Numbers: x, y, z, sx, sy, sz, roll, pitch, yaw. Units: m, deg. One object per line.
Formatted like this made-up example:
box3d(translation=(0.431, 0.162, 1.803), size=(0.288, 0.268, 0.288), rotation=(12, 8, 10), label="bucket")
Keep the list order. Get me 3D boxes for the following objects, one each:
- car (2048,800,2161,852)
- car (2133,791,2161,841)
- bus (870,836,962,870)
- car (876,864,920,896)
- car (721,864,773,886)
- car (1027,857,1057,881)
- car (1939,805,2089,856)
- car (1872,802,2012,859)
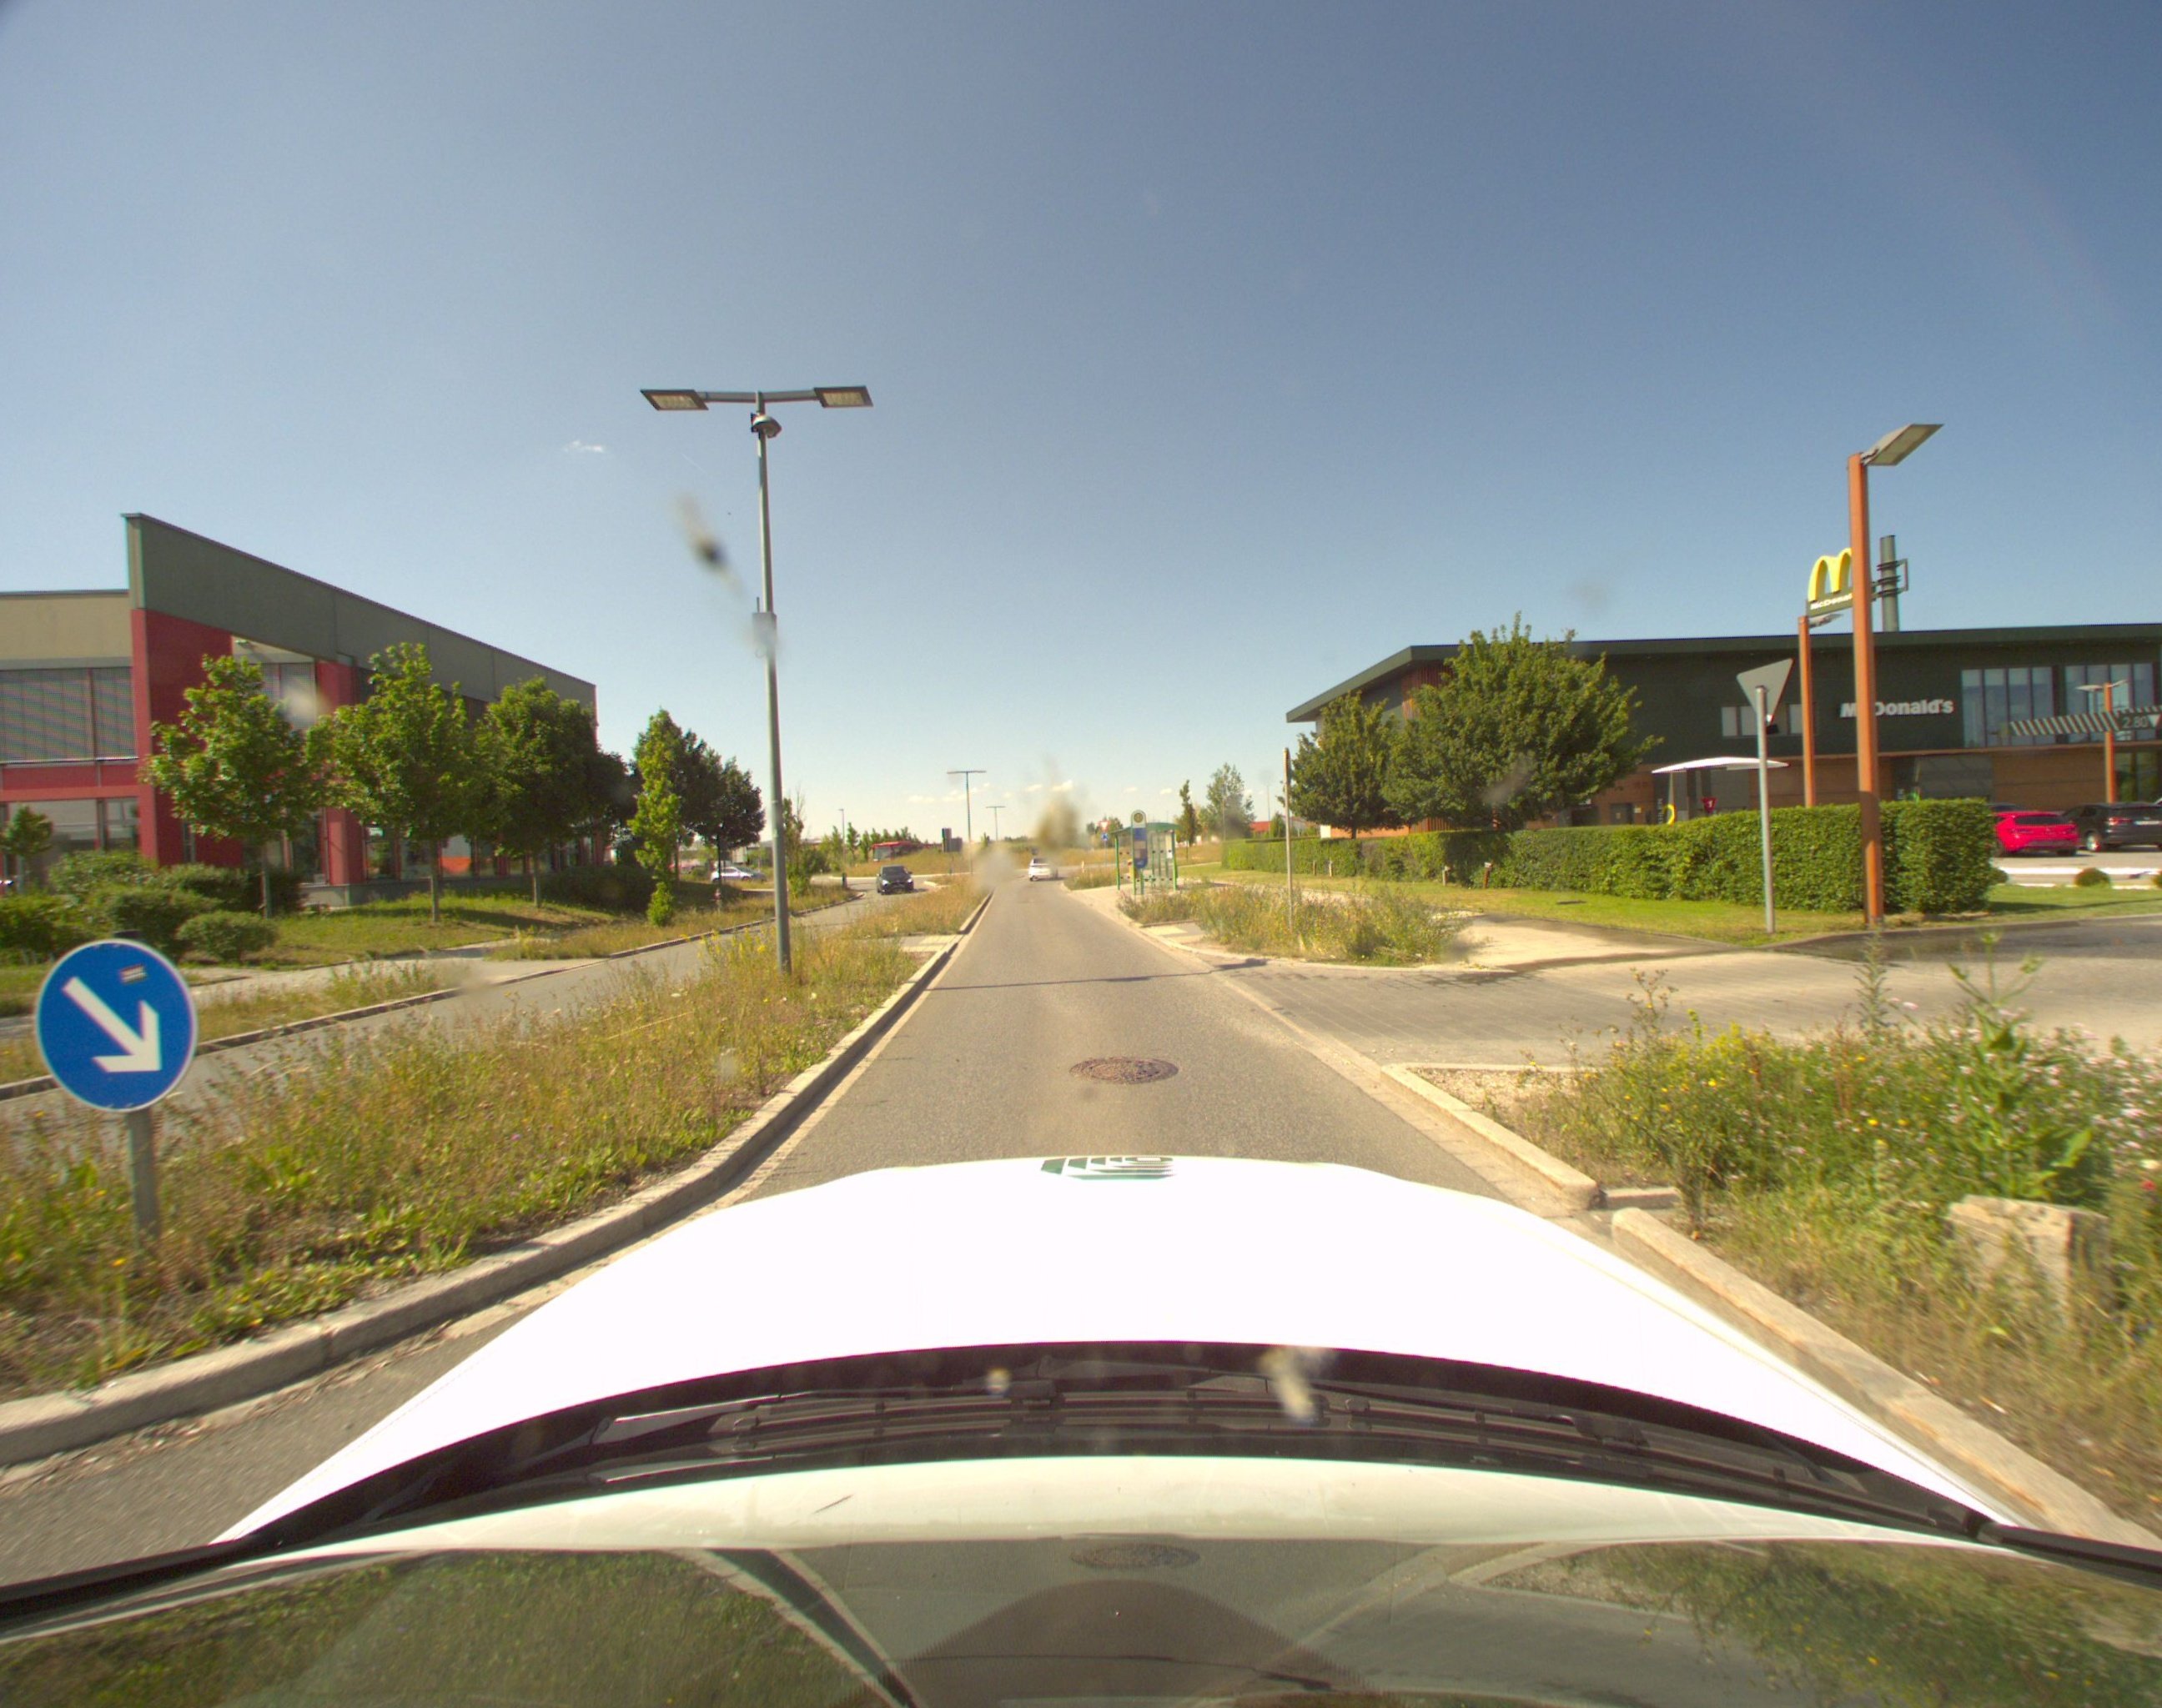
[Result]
box3d(translation=(34.034, -0.927, 26.865), size=(1.775, 1.513, 4.026), rotation=(-3, 0, 36), label="car")
box3d(translation=(37.649, -1.340, 27.342), size=(1.775, 1.702, 4.026), rotation=(-3, -1, 37), label="car")
box3d(translation=(-18.457, -0.255, 92.321), size=(2.760, 3.078, 12.280), rotation=(-3, 2, 28), label="bus")
box3d(translation=(-10.339, 1.429, 46.274), size=(1.756, 1.543, 4.233), rotation=(-5, 0, -5), label="car")
box3d(translation=(-27.399, 1.688, 66.728), size=(4.565, 1.626, 1.976), rotation=(-1, 2, 39), label="car")
box3d(translation=(-2.459, 0.965, 52.555), size=(1.611, 1.434, 3.793), rotation=(-2, 0, 1), label="car")
box3d(translation=(30.391, -0.749, 26.697), size=(1.776, 1.434, 4.024), rotation=(-3, 0, 27), label="car")
box3d(translation=(27.621, -0.729, 26.315), size=(1.776, 1.604, 4.024), rotation=(-3, 0, 27), label="car")
